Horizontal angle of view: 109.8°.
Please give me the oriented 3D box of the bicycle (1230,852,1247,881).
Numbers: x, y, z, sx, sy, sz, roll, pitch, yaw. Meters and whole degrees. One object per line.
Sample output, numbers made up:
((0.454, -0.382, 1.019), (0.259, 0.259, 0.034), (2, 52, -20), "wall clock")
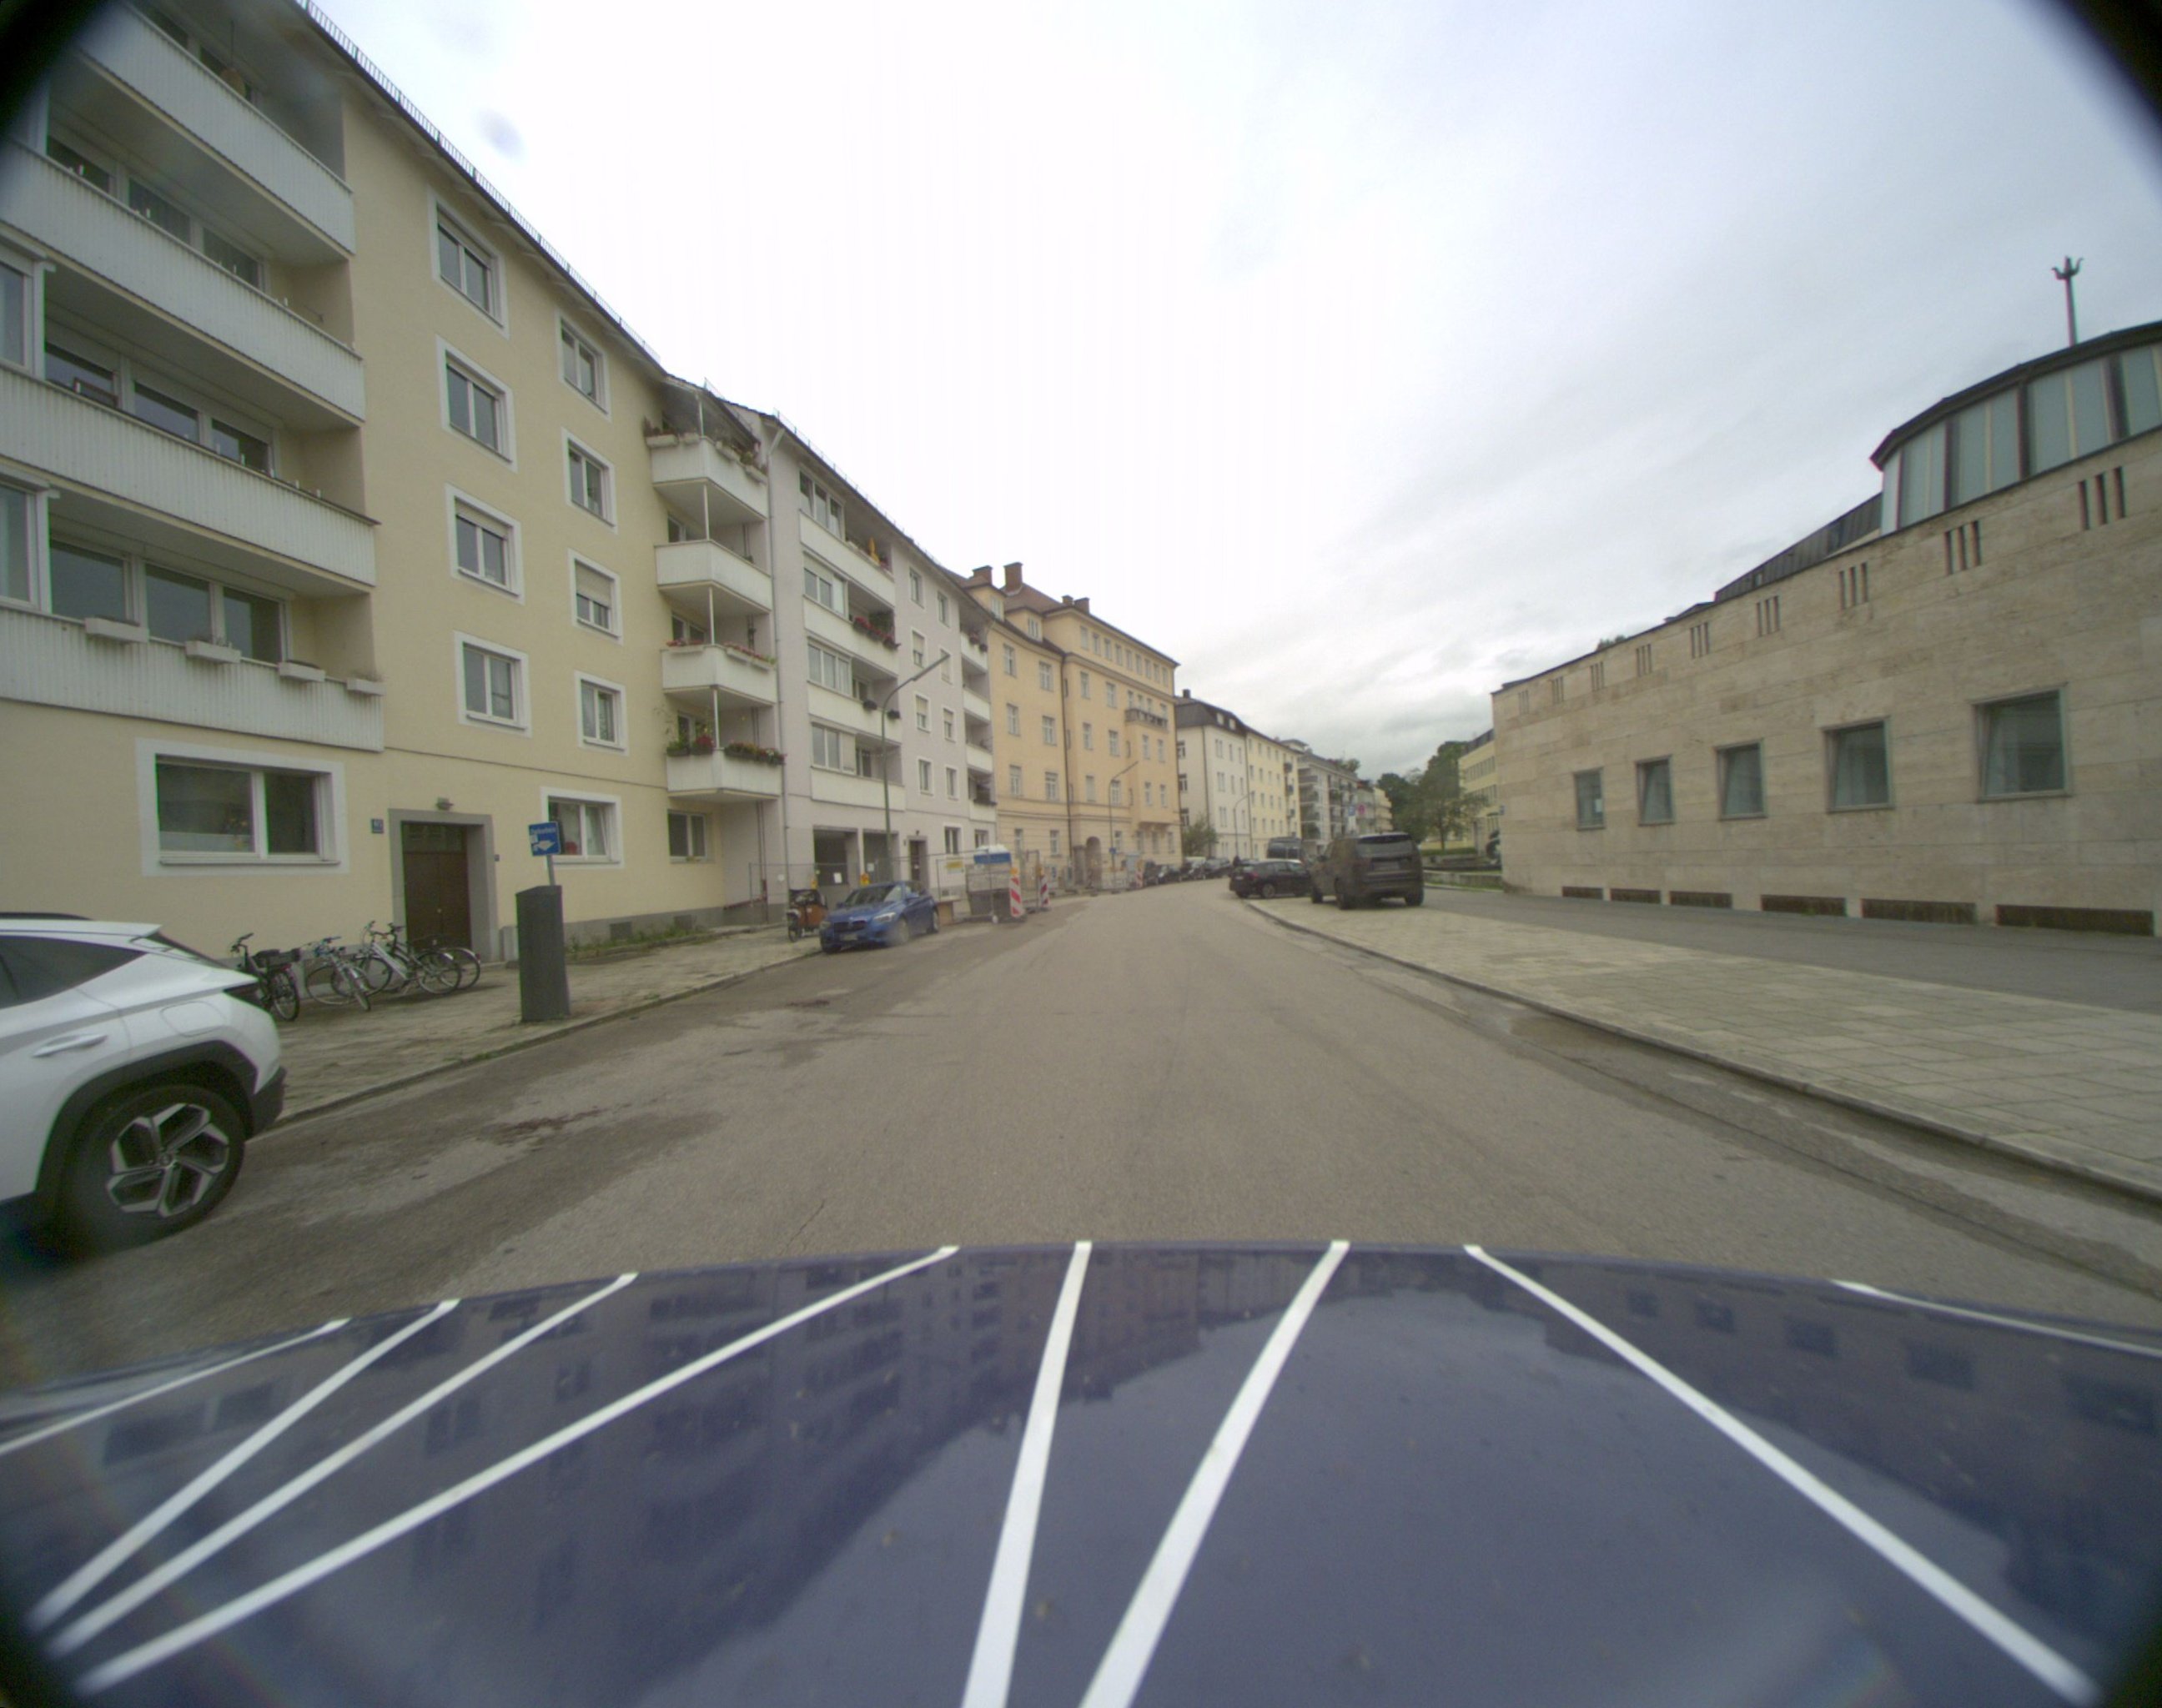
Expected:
((9.767, 0.771, 47.286), (0.796, 1.712, 3.117), (-1, -1, 7), "bicycle")

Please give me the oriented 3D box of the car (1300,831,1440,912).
((7.416, 0.452, 20.105), (1.998, 1.761, 4.816), (-3, -1, 3), "car")

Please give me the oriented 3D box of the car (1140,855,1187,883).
((5.927, 1.052, 54.140), (1.838, 1.719, 3.736), (-6, -1, 29), "car")

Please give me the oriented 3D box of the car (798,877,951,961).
((-4.519, 1.371, 17.470), (1.835, 1.433, 4.630), (-6, -1, 4), "car")

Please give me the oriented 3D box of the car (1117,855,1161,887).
((3.801, 1.086, 49.073), (1.839, 1.788, 4.243), (-5, -1, 16), "car")

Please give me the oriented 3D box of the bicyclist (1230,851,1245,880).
((9.795, 0.726, 47.528), (0.749, 1.707, 1.032), (-3, -1, 8), "bicyclist")

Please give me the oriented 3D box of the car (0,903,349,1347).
((-5.199, 1.144, 2.104), (2.032, 1.668, 4.612), (-5, -1, -5), "car")

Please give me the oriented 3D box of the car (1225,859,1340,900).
((7.726, 0.939, 29.140), (4.012, 1.365, 1.746), (-1, 1, -24), "car")

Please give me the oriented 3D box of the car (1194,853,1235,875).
((11.384, 0.827, 64.607), (1.929, 1.719, 4.696), (-6, -3, 29), "car")

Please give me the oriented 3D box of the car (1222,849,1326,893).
((8.355, 0.734, 32.899), (3.986, 1.521, 1.673), (-5, -1, -21), "car")

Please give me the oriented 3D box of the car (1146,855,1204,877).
((8.762, 1.123, 70.991), (4.913, 1.761, 1.888), (-3, 0, 25), "car")

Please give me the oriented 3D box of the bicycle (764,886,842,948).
((-6.973, 1.546, 19.230), (0.811, 1.315, 2.775), (-2, 0, 2), "bicycle")

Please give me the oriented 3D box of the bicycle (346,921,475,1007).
((-10.389, 1.699, 11.785), (1.703, 1.214, 0.433), (-2, 0, 6), "bicycle")

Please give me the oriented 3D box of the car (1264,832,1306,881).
((11.952, 0.136, 44.431), (2.147, 2.559, 6.218), (-2, 0, 16), "car")

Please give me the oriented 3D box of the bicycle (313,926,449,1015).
((-10.404, 1.728, 11.307), (1.703, 1.214, 0.433), (-2, 0, 6), "bicycle")

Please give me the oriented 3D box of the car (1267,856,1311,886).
((10.359, 0.808, 38.111), (1.830, 1.379, 4.145), (0, 0, 11), "car")

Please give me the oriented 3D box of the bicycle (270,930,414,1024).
((-10.452, 1.732, 10.757), (1.703, 1.214, 0.433), (-2, 0, 6), "bicycle")

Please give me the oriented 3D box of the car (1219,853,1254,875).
((14.336, 0.878, 69.760), (1.779, 1.719, 4.397), (-6, -1, 29), "car")

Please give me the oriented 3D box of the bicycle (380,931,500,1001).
((-10.369, 1.810, 12.297), (1.703, 1.029, 0.368), (-2, 0, 6), "bicycle")

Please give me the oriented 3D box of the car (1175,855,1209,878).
((8.747, 0.962, 59.612), (1.509, 1.547, 2.867), (-6, -1, 31), "car")
